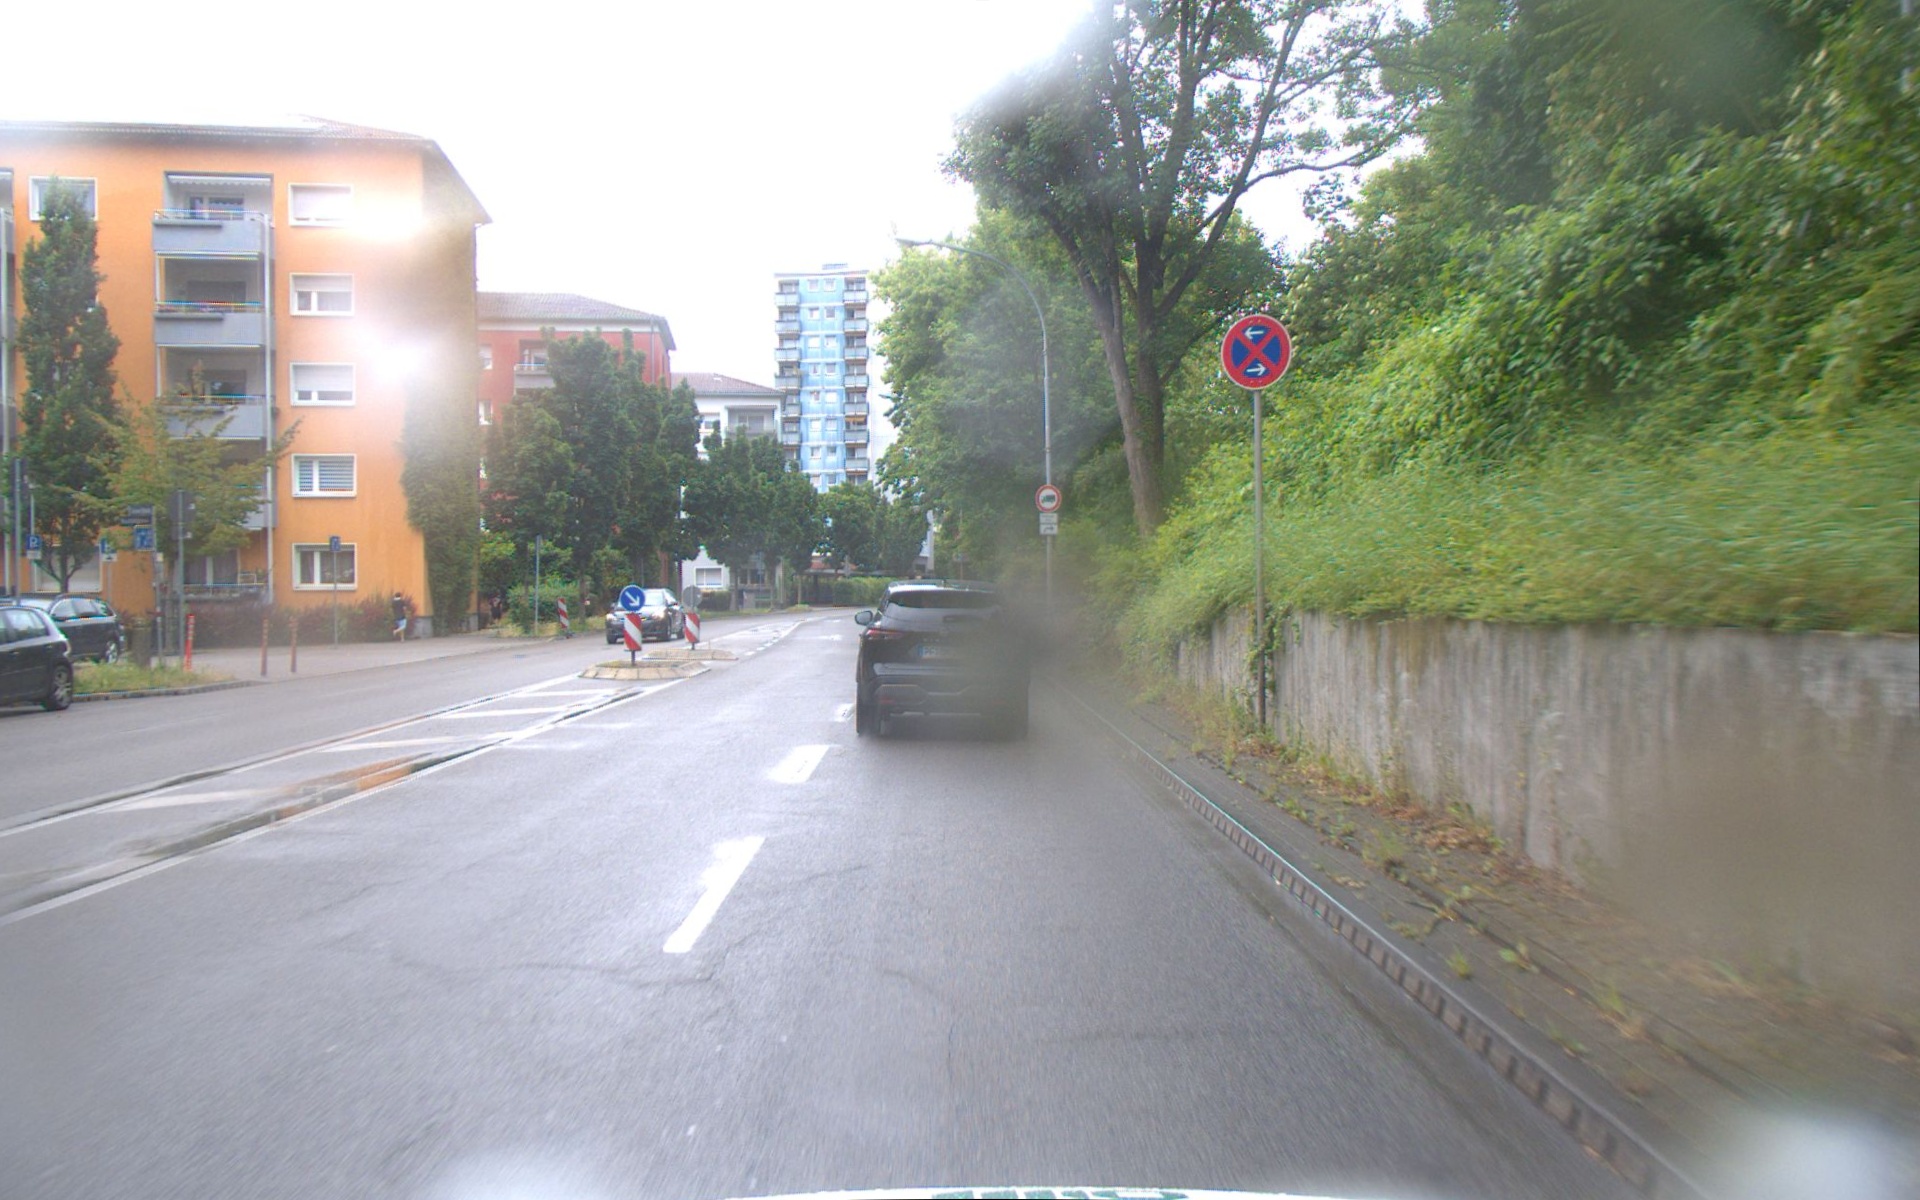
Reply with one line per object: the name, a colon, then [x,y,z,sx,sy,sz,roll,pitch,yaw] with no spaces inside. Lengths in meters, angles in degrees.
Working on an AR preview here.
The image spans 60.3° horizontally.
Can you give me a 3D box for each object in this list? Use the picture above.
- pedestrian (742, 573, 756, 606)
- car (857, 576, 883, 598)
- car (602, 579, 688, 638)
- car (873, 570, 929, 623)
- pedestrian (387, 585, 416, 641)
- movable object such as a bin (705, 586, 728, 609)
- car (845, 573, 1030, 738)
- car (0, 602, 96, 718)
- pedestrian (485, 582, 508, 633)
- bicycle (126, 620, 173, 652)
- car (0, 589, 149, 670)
pedestrian: [-13.355,-0.669,104.687,0.701,2.049,0.950,-1,0,-1]
car: [-7.937,-1.129,146.079,1.761,1.873,4.003,-1,0,5]
car: [-8.964,0.211,47.415,1.752,1.530,4.646,-2,1,-3]
car: [-2.054,-0.127,57.413,1.849,1.741,3.998,0,0,-2]
pedestrian: [-16.516,0.374,48.935,0.574,1.632,0.661,-2,0,-1]
movable object such as a bin: [-15.272,-0.165,103.776,1.294,1.385,1.258,-1,0,-1]
car: [-0.313,0.535,18.323,1.808,1.610,3.998,1,0,-3]
car: [-13.076,0.813,21.334,1.678,1.450,4.321,-3,1,-2]
pedestrian: [-15.720,0.239,56.126,0.597,1.704,0.594,-1,0,-5]
bicycle: [-20.870,0.920,42.614,0.455,0.762,1.546,-1,0,0]
car: [-17.870,0.542,32.530,1.687,1.457,4.412,-2,1,-1]
